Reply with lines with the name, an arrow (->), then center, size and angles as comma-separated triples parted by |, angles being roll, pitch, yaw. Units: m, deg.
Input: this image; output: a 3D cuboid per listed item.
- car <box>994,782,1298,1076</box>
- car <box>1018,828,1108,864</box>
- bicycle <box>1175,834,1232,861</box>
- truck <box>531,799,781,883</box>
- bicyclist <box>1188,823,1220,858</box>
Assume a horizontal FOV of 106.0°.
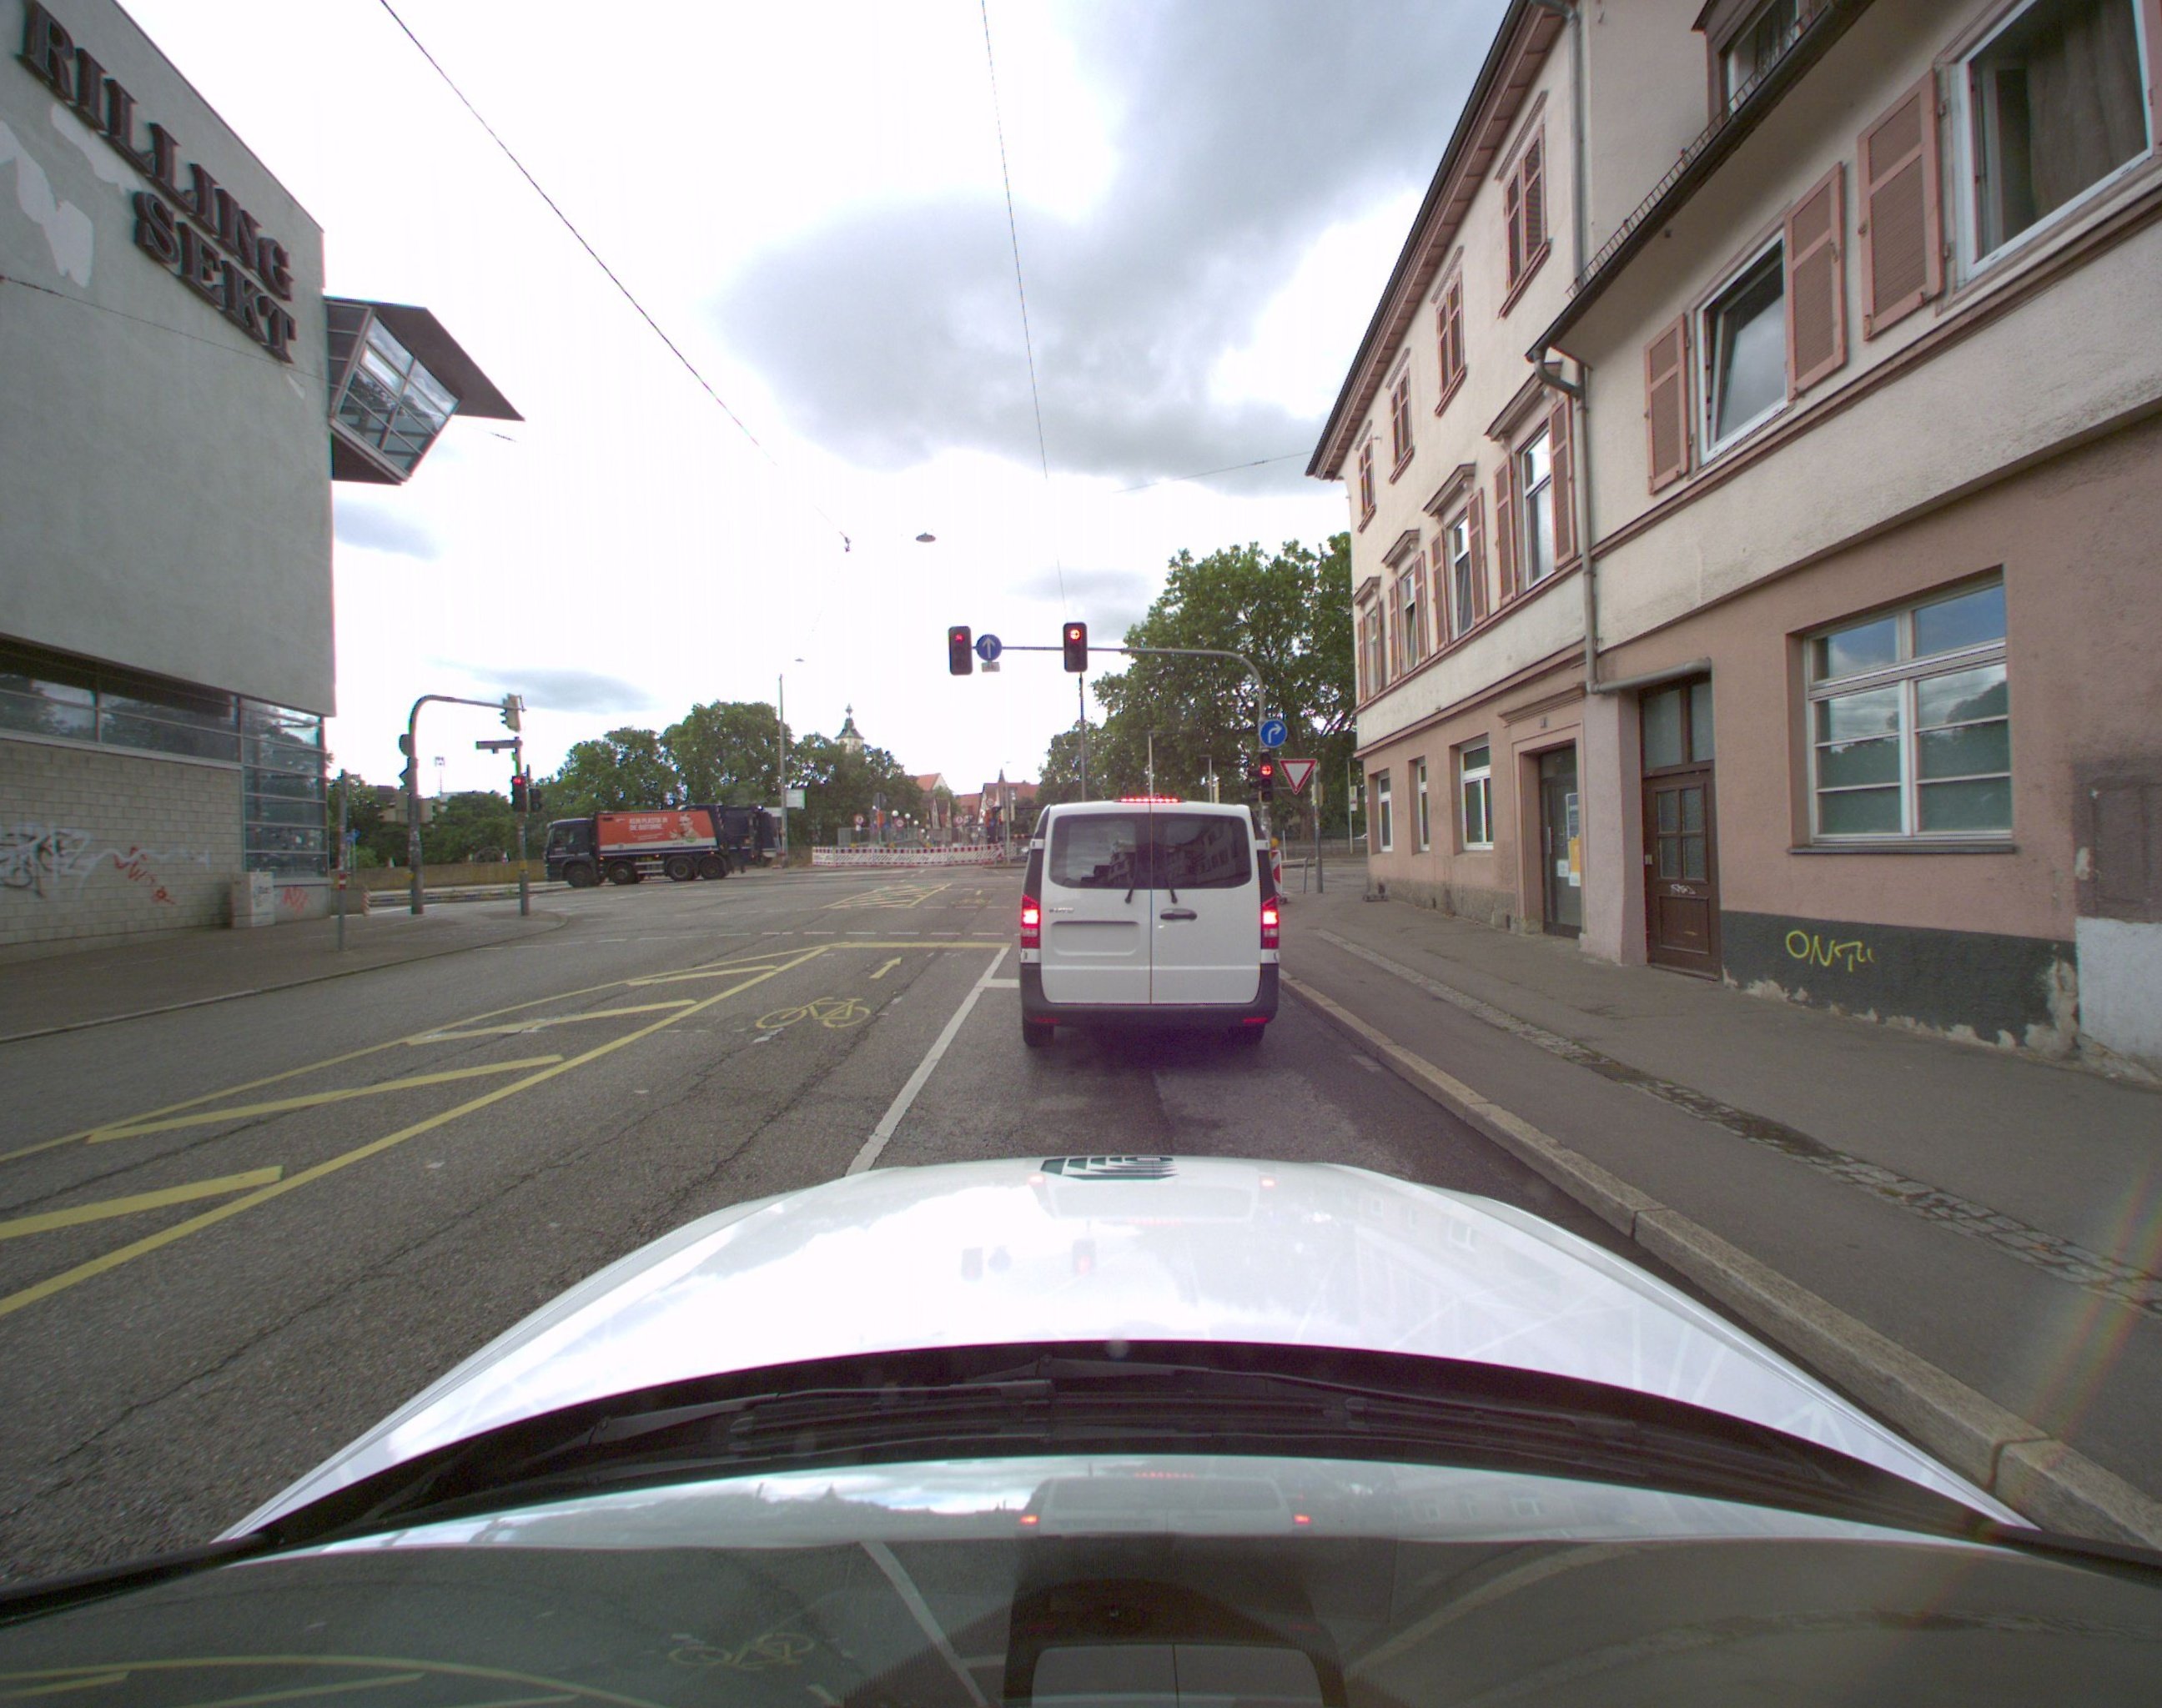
car -> 0.455, 0.431, 7.492 | 1.987, 1.922, 4.249 | -1, 2, 0
car -> -0.989, -0.404, 43.146 | 4.517, 1.634, 1.994 | -3, 0, -9
bicycle -> 7.603, -0.388, 50.695 | 3.147, 1.569, 1.464 | -2, 0, -12
truck -> -19.844, -0.661, 38.771 | 10.208, 3.696, 2.258 | -1, 0, -17
bicyclist -> 7.658, -0.837, 50.717 | 1.565, 2.156, 1.242 | -2, 0, -12
